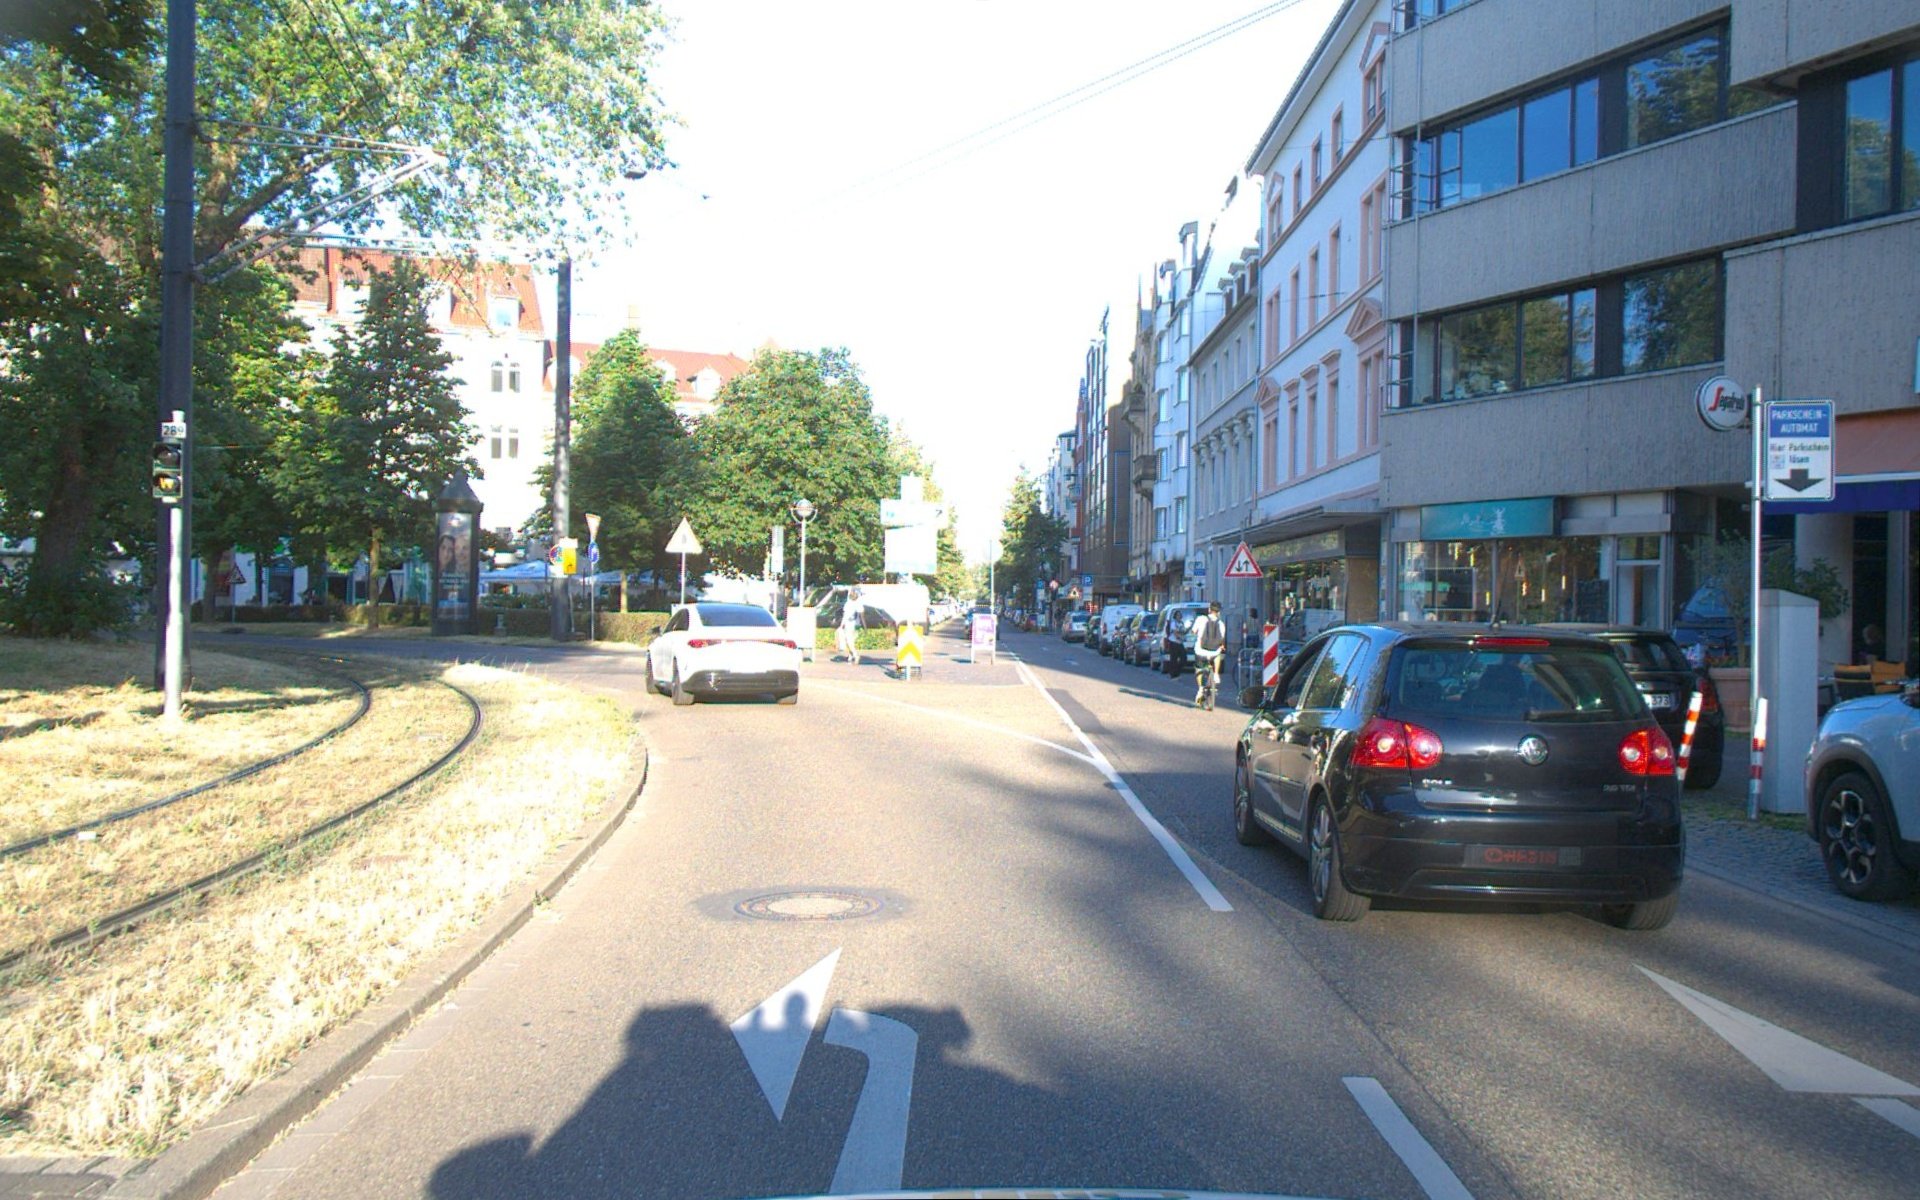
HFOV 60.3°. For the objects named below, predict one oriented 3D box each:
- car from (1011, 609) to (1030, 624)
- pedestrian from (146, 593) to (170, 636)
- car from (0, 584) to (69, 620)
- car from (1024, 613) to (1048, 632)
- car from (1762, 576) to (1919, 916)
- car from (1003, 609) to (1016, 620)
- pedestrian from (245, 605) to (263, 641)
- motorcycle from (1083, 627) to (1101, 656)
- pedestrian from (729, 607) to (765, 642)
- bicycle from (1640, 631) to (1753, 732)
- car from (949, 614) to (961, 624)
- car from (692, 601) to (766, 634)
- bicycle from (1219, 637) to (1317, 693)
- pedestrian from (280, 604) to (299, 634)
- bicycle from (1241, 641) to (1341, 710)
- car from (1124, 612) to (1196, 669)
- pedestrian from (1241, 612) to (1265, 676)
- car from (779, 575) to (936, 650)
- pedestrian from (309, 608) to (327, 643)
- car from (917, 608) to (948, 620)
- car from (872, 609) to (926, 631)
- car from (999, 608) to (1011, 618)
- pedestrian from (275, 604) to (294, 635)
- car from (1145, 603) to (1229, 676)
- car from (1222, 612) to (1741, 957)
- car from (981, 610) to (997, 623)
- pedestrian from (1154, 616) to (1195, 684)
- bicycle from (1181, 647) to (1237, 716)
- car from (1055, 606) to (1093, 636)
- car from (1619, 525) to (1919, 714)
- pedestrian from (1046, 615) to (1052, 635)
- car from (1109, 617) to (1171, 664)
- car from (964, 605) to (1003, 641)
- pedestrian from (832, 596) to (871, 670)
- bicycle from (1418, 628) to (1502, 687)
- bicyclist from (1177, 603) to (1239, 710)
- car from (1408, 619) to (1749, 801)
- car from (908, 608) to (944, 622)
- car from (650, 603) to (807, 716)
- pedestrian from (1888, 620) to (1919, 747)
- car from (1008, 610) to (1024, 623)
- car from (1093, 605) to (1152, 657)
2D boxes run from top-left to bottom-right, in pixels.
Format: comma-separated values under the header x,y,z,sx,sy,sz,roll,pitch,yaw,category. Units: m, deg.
x,y,z,sx,sy,sz,roll,pitch,yaw,category
6.147,1.671,168.211,1.716,1.537,3.544,0,-1,-1,car
-29.733,0.542,61.308,0.582,1.594,0.559,1,-1,35,pedestrian
-43.414,0.089,76.642,3.563,1.579,1.651,2,-1,-23,car
6.207,1.806,135.470,1.716,1.537,3.544,0,-1,-1,car
5.851,0.727,7.796,1.829,1.744,4.503,-1,0,-2,car
7.152,2.150,241.150,1.716,1.537,3.544,0,-1,-1,car
-30.647,1.001,71.792,0.524,1.524,0.659,1,-1,-7,pedestrian
5.683,1.789,71.232,0.477,1.195,1.605,-1,0,-7,motorcycle
-8.001,0.920,62.097,1.083,1.248,0.853,3,-1,-26,pedestrian
9.116,0.978,20.445,1.798,1.138,0.527,-1,0,-40,bicycle
-0.704,2.660,230.040,1.632,1.310,3.389,2,0,1,car
-13.515,1.021,96.701,3.932,1.813,1.840,2,-1,-23,car
6.066,1.267,32.597,1.812,1.064,0.579,-1,0,31,bicycle
-30.797,0.882,75.970,0.655,1.376,0.658,2,-1,-12,pedestrian
5.731,1.301,28.669,1.574,1.138,0.610,-1,0,34,bicycle
5.960,1.187,49.658,1.699,1.645,3.916,0,-1,0,car
7.775,1.163,43.850,0.491,1.653,0.496,2,-1,0,pedestrian
-3.798,0.485,61.604,5.444,2.640,2.137,2,-1,-26,car
-27.971,1.111,72.082,0.524,1.524,0.659,1,-1,-7,pedestrian
-3.162,1.618,190.534,3.322,1.310,1.666,2,0,-15,car
-4.093,1.325,110.862,3.322,1.310,1.666,2,0,-15,car
6.955,2.040,255.378,1.716,1.537,3.544,0,-1,-1,car
-30.653,0.881,75.021,0.655,1.376,0.658,2,-1,-12,pedestrian
6.014,1.024,44.166,1.699,1.831,3.916,0,-1,0,car
2.659,0.839,9.459,1.711,1.486,4.103,2,0,1,car
3.359,1.872,189.519,1.633,1.310,3.388,2,0,-2,car
5.093,1.175,39.199,0.724,1.582,0.629,1,-1,37,pedestrian
3.969,1.289,26.462,0.567,1.004,1.935,2,-1,0,bicycle
6.059,1.116,88.179,1.716,1.537,3.544,0,-1,-1,car
12.223,0.260,23.844,5.250,2.485,2.075,0,-1,-26,car
9.176,2.563,169.708,0.520,1.957,0.541,1,-1,-2,pedestrian
6.015,1.338,55.525,1.699,1.488,3.585,0,-1,0,car
1.256,1.180,87.996,1.952,1.803,4.000,1,0,1,car
-2.623,0.785,39.838,0.843,1.736,0.940,2,-1,-6,pedestrian
9.967,1.157,33.000,0.511,1.138,1.499,-2,-1,-43,bicycle
3.952,0.883,26.429,0.761,1.646,1.025,2,-1,-1,bicyclist
5.733,0.946,15.837,1.629,1.466,3.820,-1,0,-3,car
-3.453,1.561,168.377,3.322,1.310,1.666,2,0,-15,car
-3.608,0.829,25.201,1.835,1.466,4.179,0,1,-16,car
10.193,0.868,17.249,0.644,1.304,0.655,0,-1,-30,pedestrian
6.774,1.945,199.013,1.716,1.537,3.544,0,-1,-1,car
6.082,1.156,62.143,1.885,1.873,4.018,0,-1,1,car
